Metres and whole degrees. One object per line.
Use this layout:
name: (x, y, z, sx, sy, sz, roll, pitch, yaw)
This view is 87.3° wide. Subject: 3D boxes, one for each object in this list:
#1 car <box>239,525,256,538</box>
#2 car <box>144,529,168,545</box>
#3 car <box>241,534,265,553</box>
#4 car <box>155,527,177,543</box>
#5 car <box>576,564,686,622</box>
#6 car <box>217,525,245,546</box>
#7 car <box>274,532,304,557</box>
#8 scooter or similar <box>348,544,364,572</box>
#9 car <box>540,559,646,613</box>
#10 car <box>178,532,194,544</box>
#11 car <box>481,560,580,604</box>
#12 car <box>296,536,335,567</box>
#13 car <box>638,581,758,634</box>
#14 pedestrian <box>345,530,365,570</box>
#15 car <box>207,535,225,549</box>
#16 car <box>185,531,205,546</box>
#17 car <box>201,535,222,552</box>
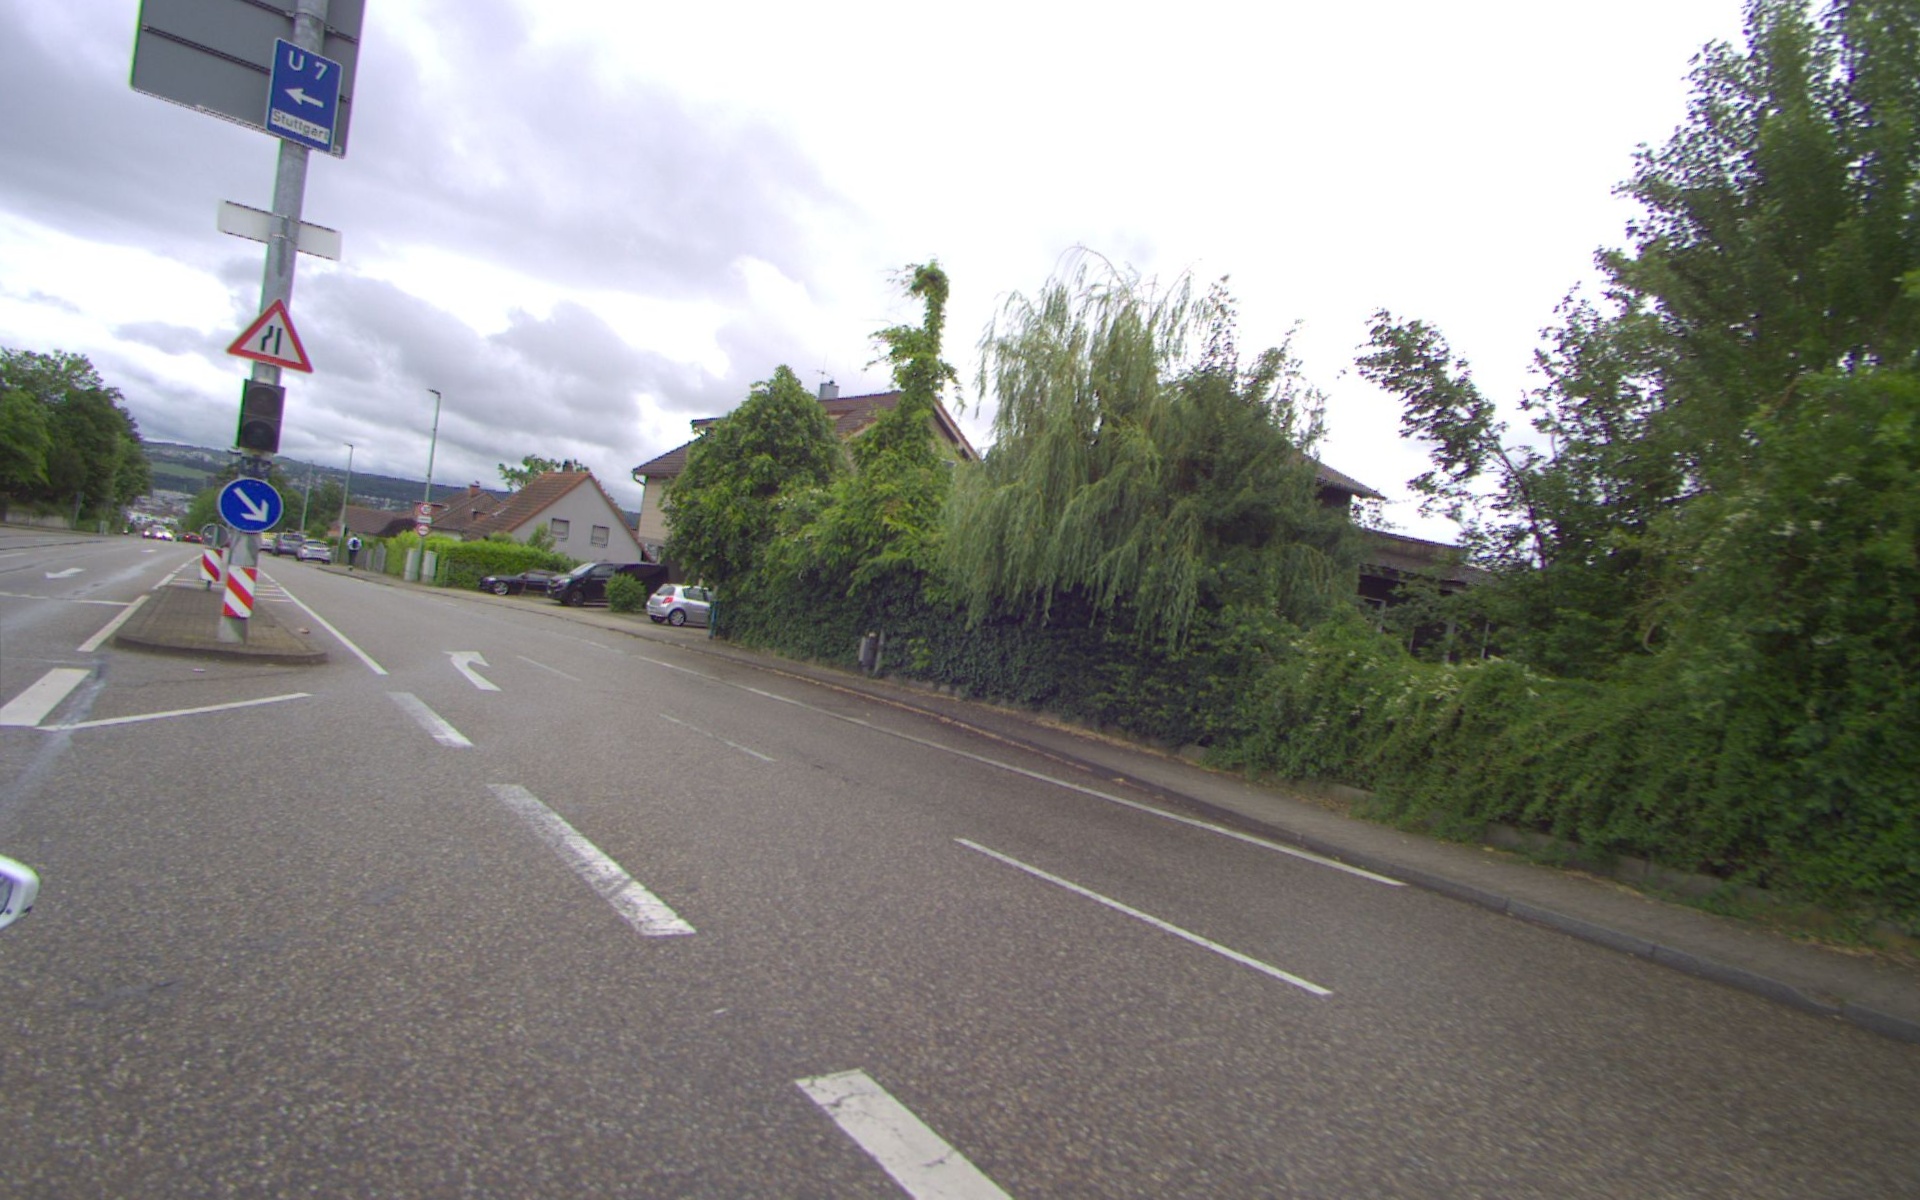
car: (-103.091, -9.867, 145.635, 1.840, 1.593, 3.961, 8, 0, -35)
car: (-99.359, -7.791, 124.397, 1.834, 1.737, 3.962, 8, -1, -35)
car: (-70.248, -5.646, 99.981, 1.840, 1.593, 3.961, 8, 0, -35)
car: (-104.712, -8.573, 132.634, 1.834, 1.737, 3.962, 8, -1, -35)
car: (-13.022, -0.250, 39.907, 3.613, 1.767, 1.689, 9, -1, -40)
car: (-64.803, -5.744, 89.463, 1.745, 1.593, 3.961, 7, 0, -35)
car: (-54.211, -4.513, 81.250, 1.841, 1.593, 3.960, 9, 0, -35)
scooter or similar: (-32.528, -2.277, 54.170, 0.459, 1.377, 1.369, 7, 0, -39)
car: (-15.102, -0.558, 41.468, 3.613, 1.645, 1.771, 9, -1, -40)
car: (-133.538, -10.673, 173.502, 1.984, 1.671, 3.958, 8, -1, -38)
car: (-19.049, -0.796, 44.676, 3.672, 1.385, 1.504, 10, -3, -38)
car: (-42.829, -3.239, 66.796, 1.841, 1.592, 3.961, 10, -2, -35)
car: (-9.349, 0.297, 36.048, 3.703, 1.412, 1.708, 8, -2, -43)
pedestrian: (-32.487, -2.685, 54.020, 0.653, 2.026, 0.710, 7, 0, -39)
car: (-102.519, -7.972, 138.661, 1.729, 1.593, 3.961, 7, 0, -35)
car: (-105.933, -8.527, 139.371, 1.877, 1.815, 3.961, 8, -1, -35)
car: (-92.406, -7.023, 124.239, 1.788, 1.804, 3.961, 8, -1, -36)
